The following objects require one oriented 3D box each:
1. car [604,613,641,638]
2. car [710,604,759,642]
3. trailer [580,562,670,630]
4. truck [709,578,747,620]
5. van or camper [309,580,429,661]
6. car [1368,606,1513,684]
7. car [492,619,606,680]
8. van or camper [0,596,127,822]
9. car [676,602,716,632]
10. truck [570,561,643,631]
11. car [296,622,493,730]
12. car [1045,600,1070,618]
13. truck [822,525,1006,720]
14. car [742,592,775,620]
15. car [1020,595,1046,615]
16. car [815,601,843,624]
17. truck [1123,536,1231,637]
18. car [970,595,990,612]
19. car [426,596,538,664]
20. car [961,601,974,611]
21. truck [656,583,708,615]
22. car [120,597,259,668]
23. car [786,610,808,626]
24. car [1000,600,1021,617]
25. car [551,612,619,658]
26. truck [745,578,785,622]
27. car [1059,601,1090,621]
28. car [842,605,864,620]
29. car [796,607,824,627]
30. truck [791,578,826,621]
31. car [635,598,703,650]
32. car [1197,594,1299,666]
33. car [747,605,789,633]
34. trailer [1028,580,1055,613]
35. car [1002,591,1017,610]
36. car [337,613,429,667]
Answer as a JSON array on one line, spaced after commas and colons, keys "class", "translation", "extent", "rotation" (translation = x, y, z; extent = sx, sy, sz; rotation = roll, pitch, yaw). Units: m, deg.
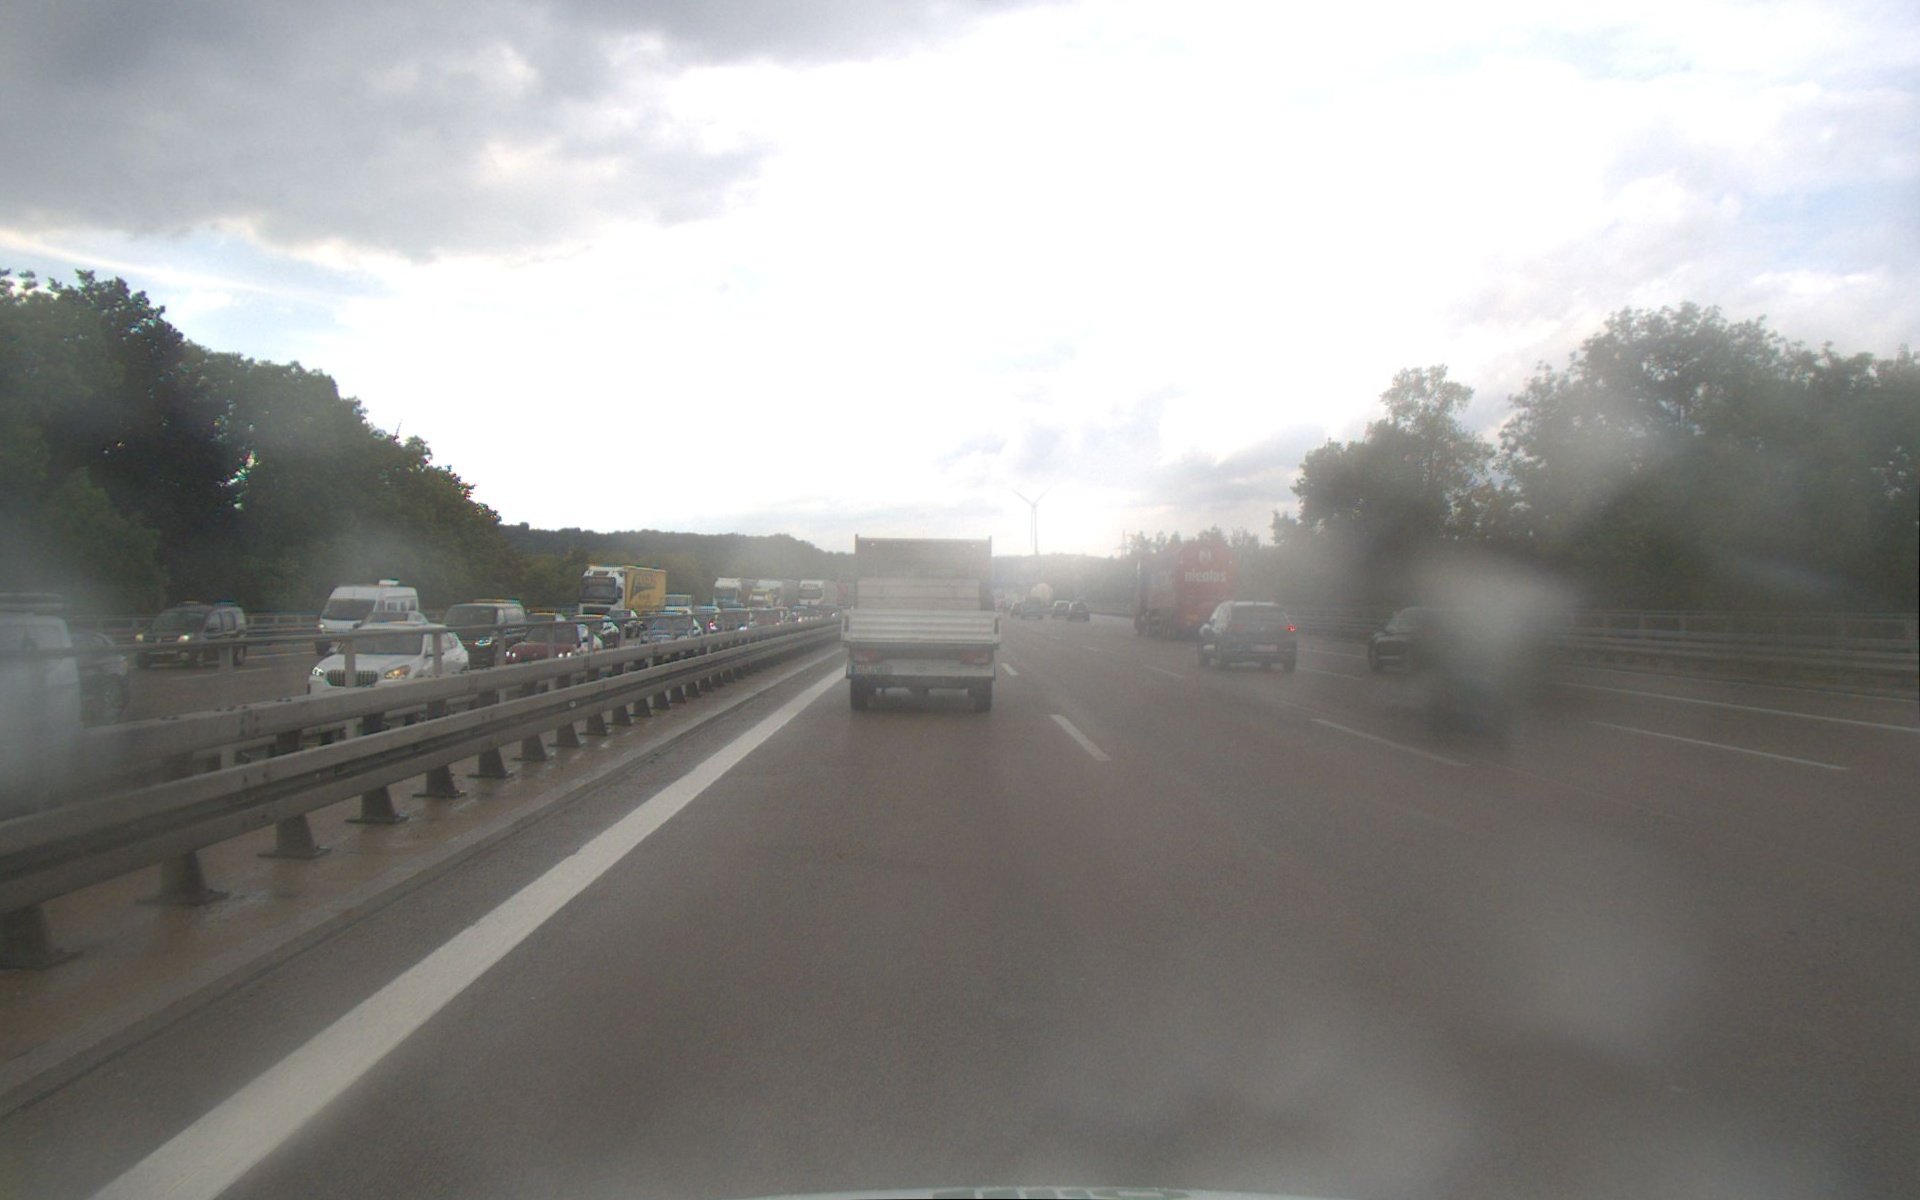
[{"class": "car", "translation": [-18.602, 1.401, 91.287], "extent": [1.418, 1.323, 3.998], "rotation": [-1, 0, -3]}, {"class": "car", "translation": [-10.781, 1.080, 79.328], "extent": [1.830, 1.699, 5.171], "rotation": [-1, 0, -2]}, {"class": "trailer", "translation": [-22.609, -0.228, 112.691], "extent": [3.181, 4.302, 14.508], "rotation": [-1, 0, 0]}, {"class": "truck", "translation": [-23.062, -0.069, 164.582], "extent": [2.702, 4.063, 6.577], "rotation": [-1, 0, 1]}, {"class": "van or camper", "translation": [-21.907, 0.702, 61.695], "extent": [2.157, 2.814, 7.228], "rotation": [-1, 0, -2]}, {"class": "car", "translation": [10.369, 0.931, 36.007], "extent": [1.778, 1.570, 4.356], "rotation": [0, 0, -2]}, {"class": "car", "translation": [-10.686, 1.252, 43.400], "extent": [1.836, 1.416, 5.362], "rotation": [-1, 0, -2]}, {"class": "van or camper", "translation": [-9.902, 1.026, 14.997], "extent": [1.943, 2.104, 5.641], "rotation": [-1, 0, -1]}, {"class": "car", "translation": [-15.299, 0.966, 95.981], "extent": [1.744, 1.640, 4.575], "rotation": [-1, 0, -3]}, {"class": "truck", "translation": [-22.616, -0.247, 106.112], "extent": [3.181, 4.324, 6.881], "rotation": [-1, 0, 0]}, {"class": "car", "translation": [-10.209, 1.308, 30.339], "extent": [1.788, 1.704, 5.357], "rotation": [-1, 0, 0]}, {"class": "car", "translation": [9.410, 0.882, 160.563], "extent": [2.004, 1.729, 5.005], "rotation": [0, 0, -2]}, {"class": "truck", "translation": [-0.687, 0.279, 24.735], "extent": [2.305, 2.450, 7.355], "rotation": [1, 0, -2]}, {"class": "car", "translation": [-18.472, 0.535, 151.882], "extent": [2.112, 2.548, 6.772], "rotation": [-1, 0, 0]}, {"class": "car", "translation": [6.535, 0.457, 147.784], "extent": [2.055, 1.729, 3.999], "rotation": [0, 0, -2]}, {"class": "car", "translation": [-10.783, 1.019, 136.718], "extent": [1.874, 1.797, 5.331], "rotation": [-1, 0, 0]}, {"class": "truck", "translation": [9.582, -0.584, 74.989], "extent": [3.087, 4.073, 15.638], "rotation": [0, 0, 1]}, {"class": "car", "translation": [2.036, 0.350, 168.260], "extent": [1.932, 1.729, 3.999], "rotation": [0, 0, -2]}, {"class": "car", "translation": [-14.369, 0.866, 49.972], "extent": [1.854, 1.935, 5.002], "rotation": [-1, 0, 1]}, {"class": "car", "translation": [1.106, 0.856, 238.361], "extent": [1.775, 1.471, 3.999], "rotation": [-1, 0, -1]}, {"class": "truck", "translation": [-22.325, -0.080, 133.199], "extent": [2.625, 2.413, 9.274], "rotation": [-1, 0, 0]}, {"class": "car", "translation": [-22.523, 0.908, 48.572], "extent": [2.035, 1.979, 4.757], "rotation": [-1, 0, -3]}, {"class": "car", "translation": [-15.007, 1.653, 152.202], "extent": [1.569, 1.411, 4.100], "rotation": [-1, 0, 0]}, {"class": "car", "translation": [5.083, 0.862, 166.477], "extent": [2.003, 1.729, 3.999], "rotation": [0, 0, -1]}, {"class": "car", "translation": [-14.663, 1.335, 64.799], "extent": [1.826, 1.640, 4.461], "rotation": [-1, 0, -3]}, {"class": "truck", "translation": [-19.284, 0.045, 163.859], "extent": [2.844, 4.220, 7.103], "rotation": [-1, 0, 2]}, {"class": "car", "translation": [9.543, 0.887, 137.940], "extent": [2.062, 1.634, 5.064], "rotation": [0, 0, -2]}, {"class": "car", "translation": [-10.872, 1.278, 168.579], "extent": [1.883, 1.443, 5.164], "rotation": [-1, 0, 0]}, {"class": "car", "translation": [-10.828, 1.198, 119.945], "extent": [1.726, 1.407, 4.819], "rotation": [-1, 0, -2]}, {"class": "truck", "translation": [-15.414, -0.006, 168.971], "extent": [2.821, 4.253, 7.556], "rotation": [-1, 0, 0]}, {"class": "car", "translation": [-11.165, 0.887, 63.878], "extent": [1.828, 1.858, 5.706], "rotation": [-1, 0, -2]}, {"class": "car", "translation": [6.618, 0.672, 38.337], "extent": [1.755, 1.590, 3.722], "rotation": [0, 0, 0]}, {"class": "car", "translation": [-10.743, 1.041, 92.651], "extent": [1.954, 1.489, 4.839], "rotation": [-1, 0, -2]}, {"class": "trailer", "translation": [10.688, -0.463, 218.321], "extent": [3.263, 4.249, 11.840], "rotation": [1, 0, 2]}, {"class": "car", "translation": [6.757, 0.099, 227.601], "extent": [2.003, 2.541, 4.001], "rotation": [0, 0, 1]}, {"class": "car", "translation": [-18.281, 1.234, 52.565], "extent": [1.643, 1.607, 3.998], "rotation": [-1, 0, -2]}]
